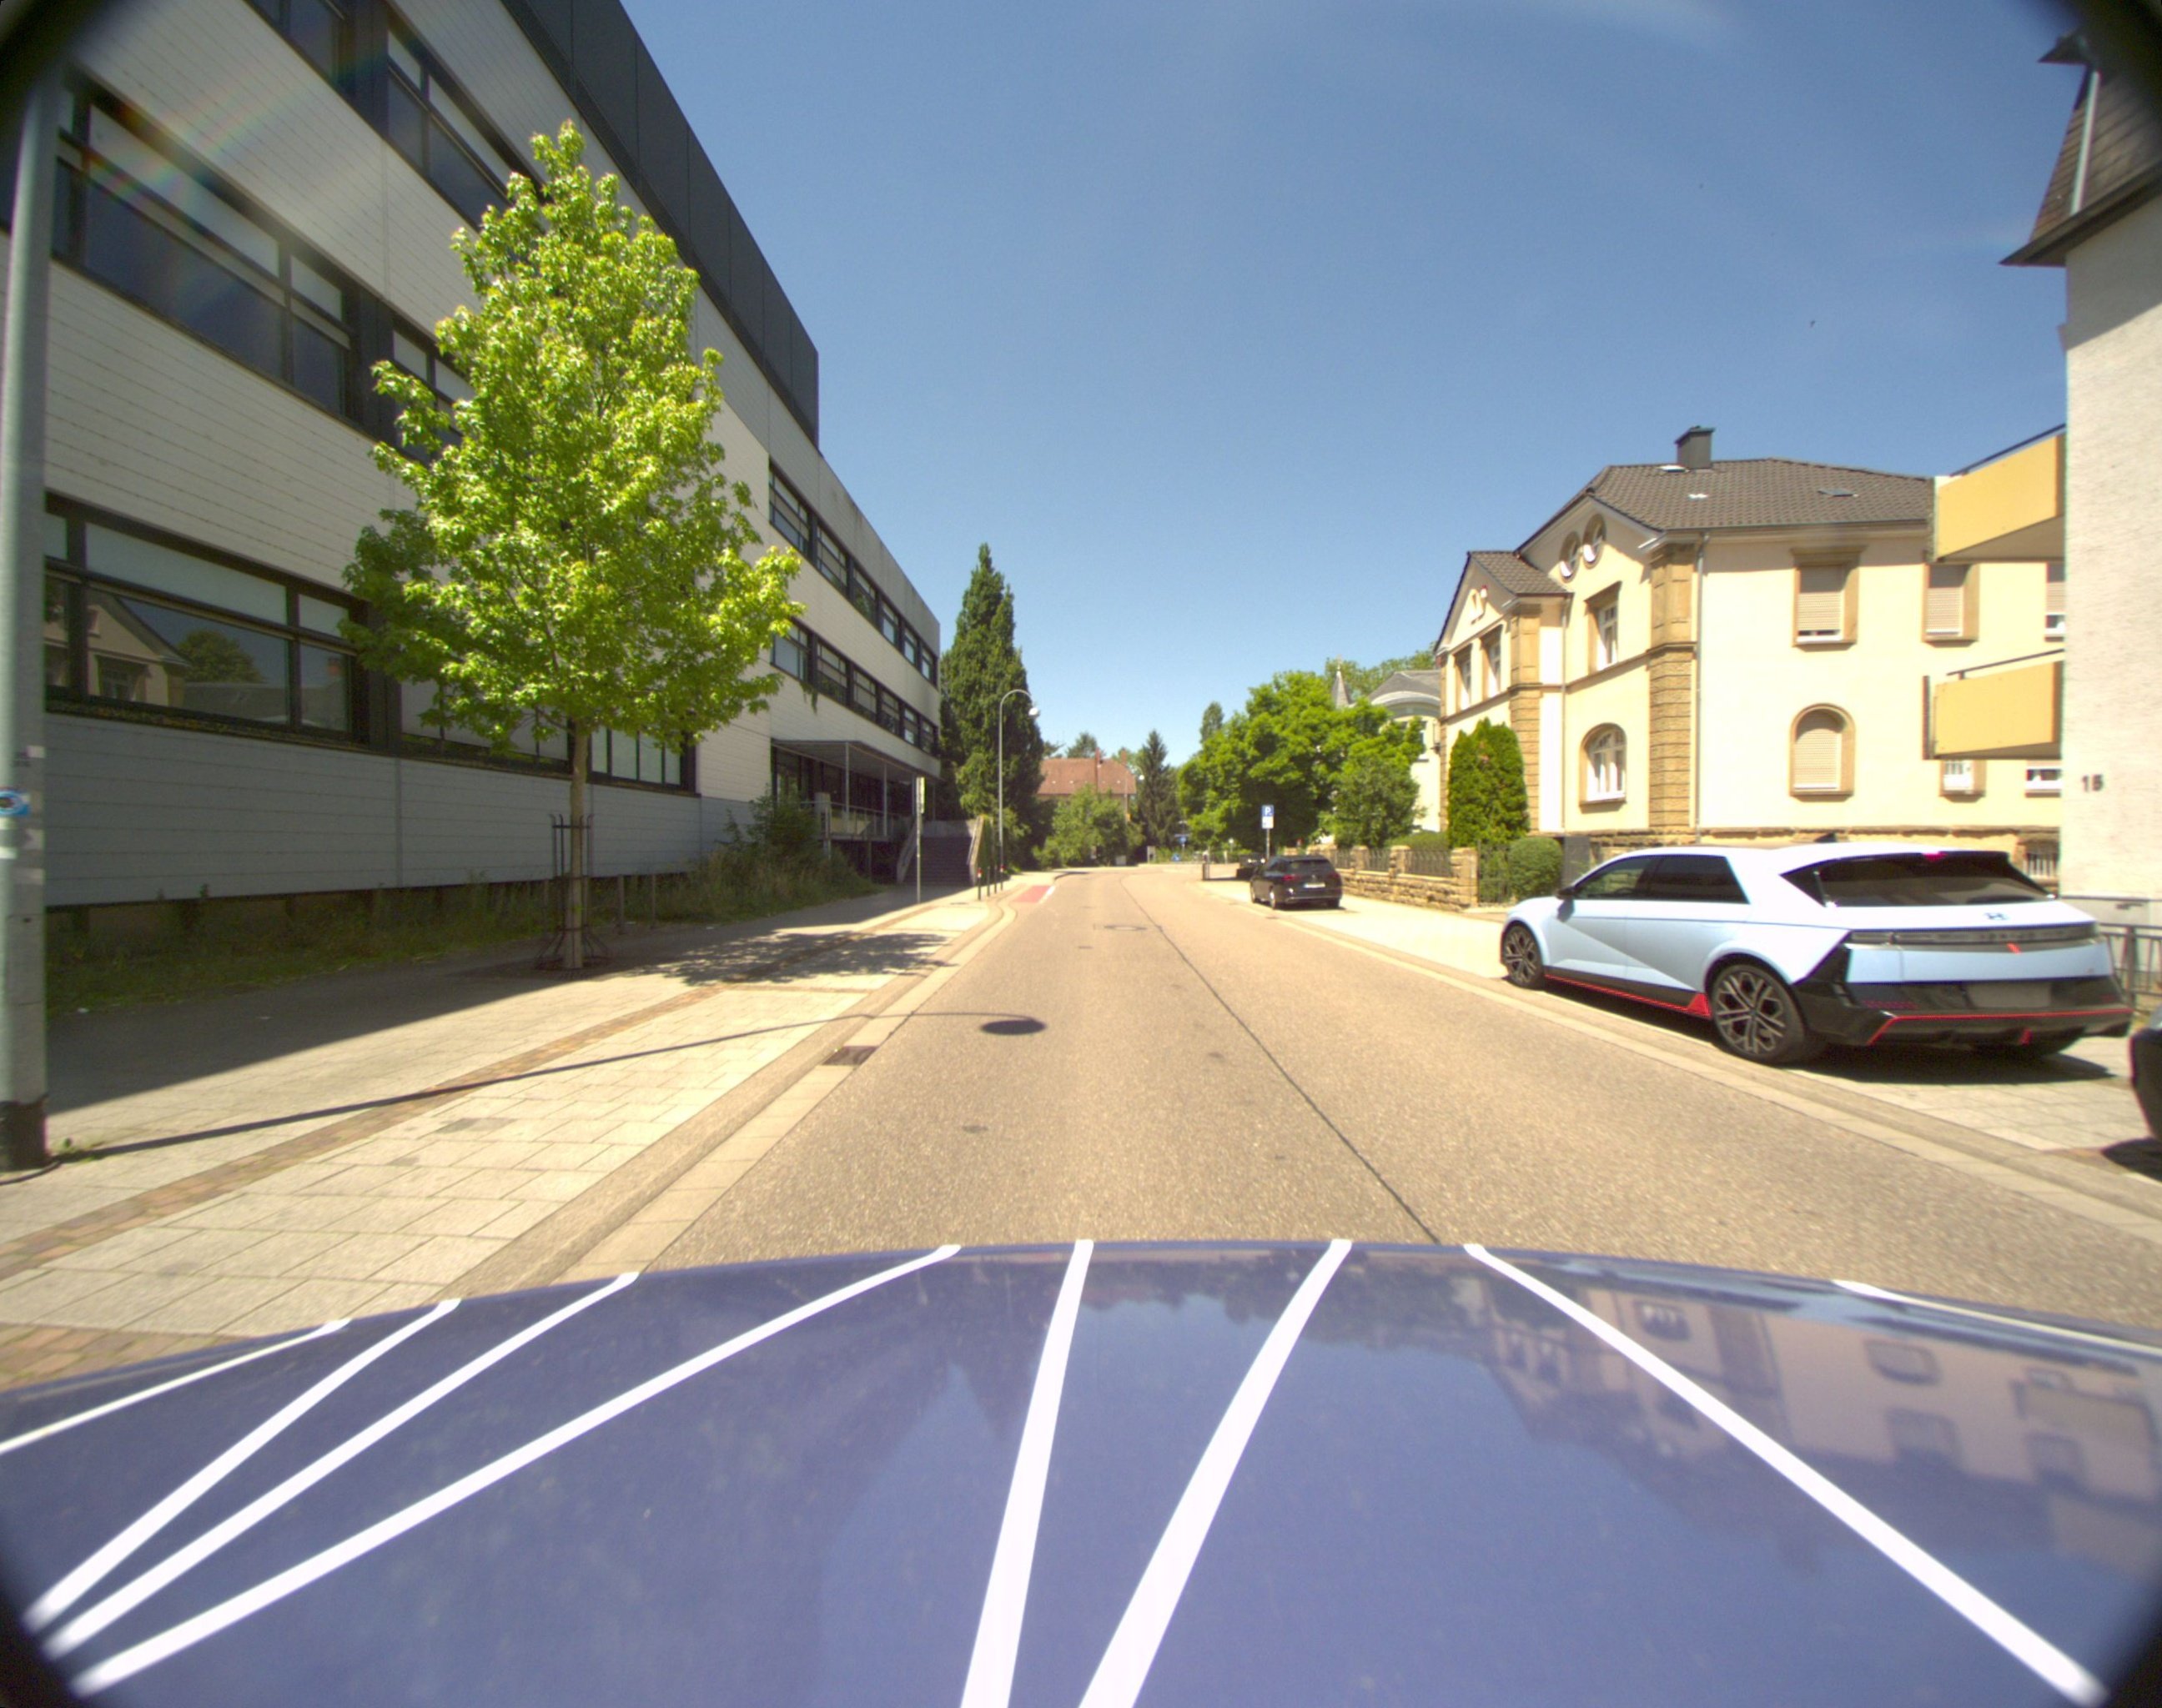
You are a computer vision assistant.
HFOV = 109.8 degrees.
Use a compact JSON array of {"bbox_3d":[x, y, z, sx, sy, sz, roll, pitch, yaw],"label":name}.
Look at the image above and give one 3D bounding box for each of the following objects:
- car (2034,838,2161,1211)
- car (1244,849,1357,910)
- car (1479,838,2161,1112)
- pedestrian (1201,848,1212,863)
[{"bbox_3d":[5.520,0.735,1.433,1.729,1.610,4.571,-3,1,1],"label":"car"},{"bbox_3d":[6.056,0.620,21.566,1.930,1.428,4.659,-3,1,1],"label":"car"},{"bbox_3d":[5.780,0.708,6.894,1.930,1.564,4.659,-3,1,1],"label":"car"},{"bbox_3d":[14.495,0.173,87.875,0.917,1.762,0.912,-1,3,-40],"label":"pedestrian"}]
